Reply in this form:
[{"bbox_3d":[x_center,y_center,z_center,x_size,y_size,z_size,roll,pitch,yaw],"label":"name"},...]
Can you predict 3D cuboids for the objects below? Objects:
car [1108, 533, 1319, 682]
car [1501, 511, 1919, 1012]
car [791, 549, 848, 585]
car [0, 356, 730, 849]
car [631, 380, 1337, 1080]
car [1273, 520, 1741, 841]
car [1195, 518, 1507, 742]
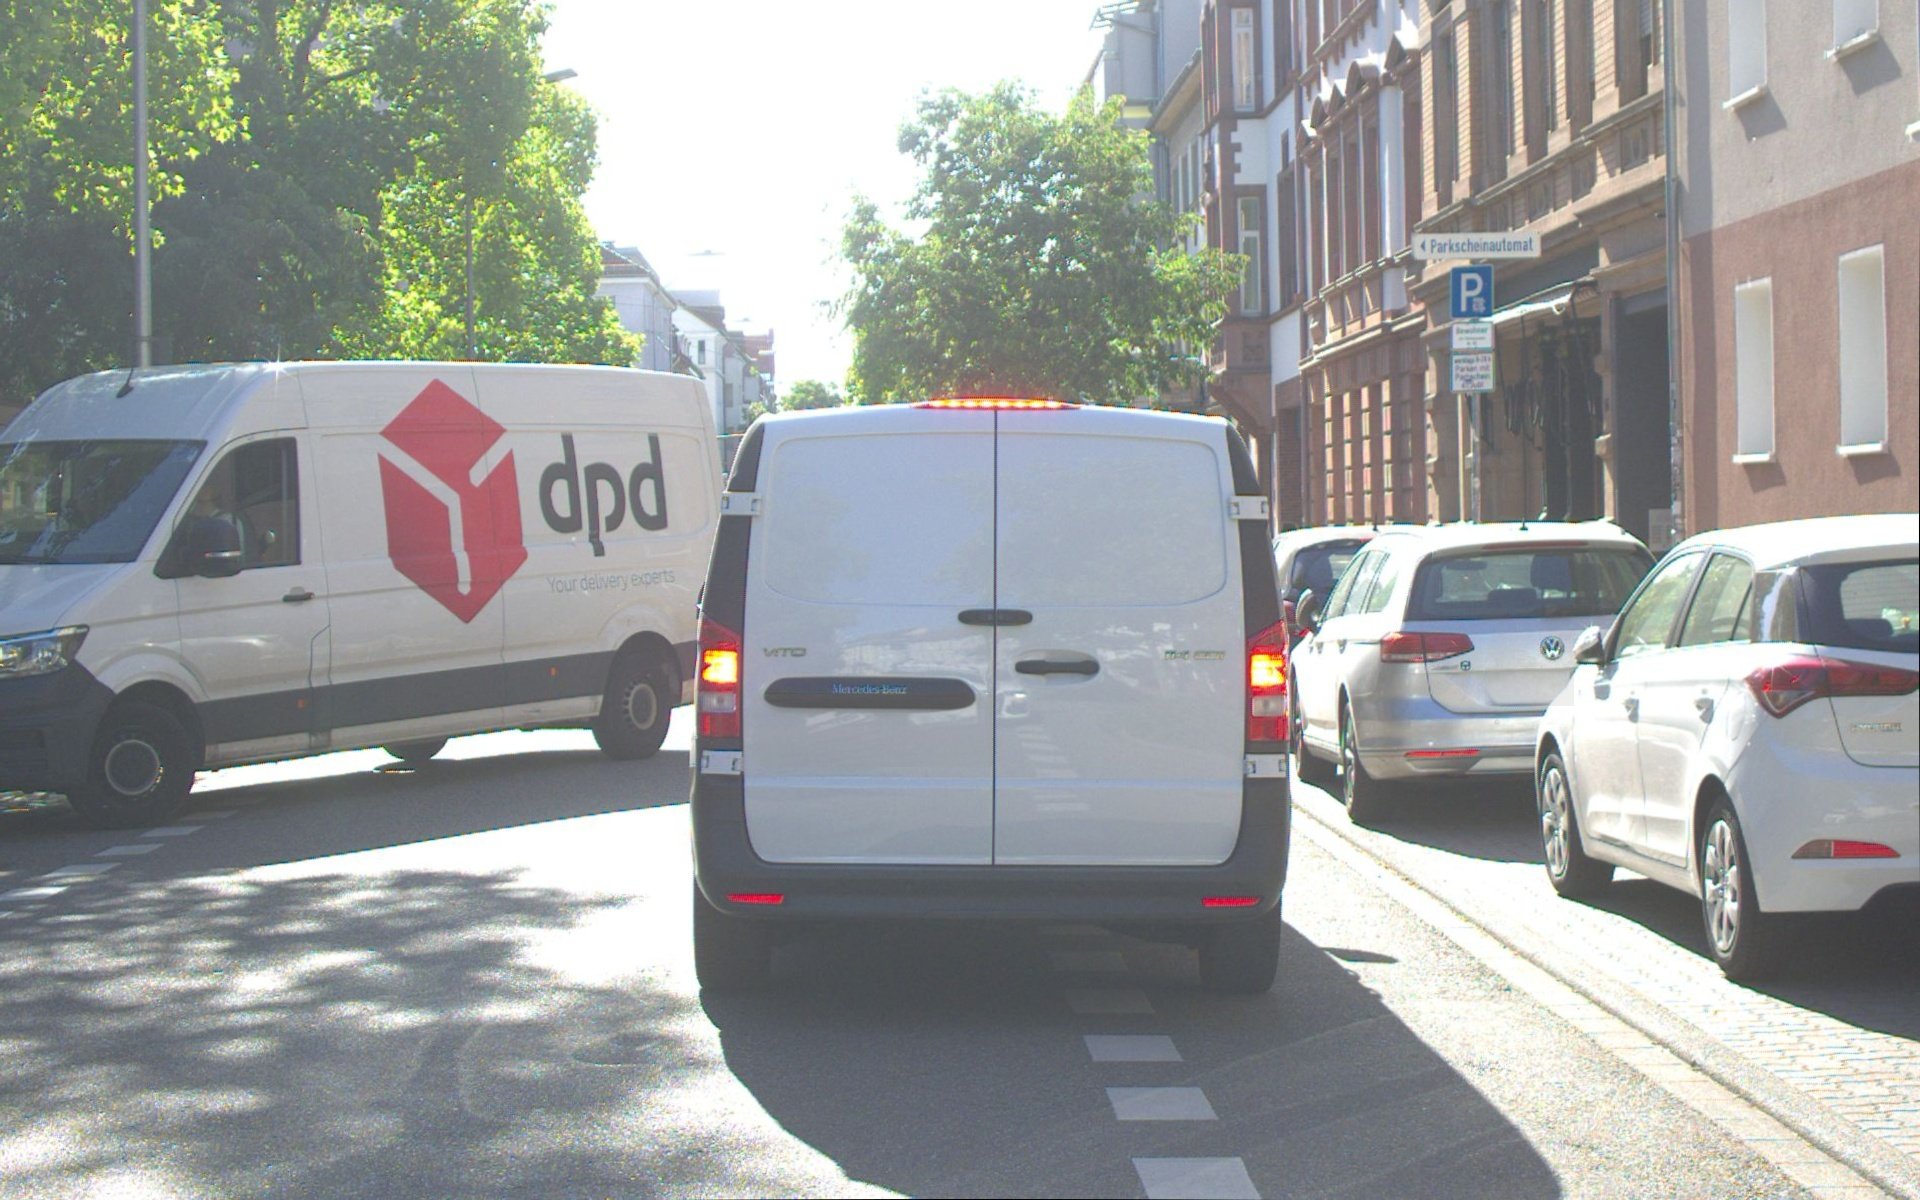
[{"bbox_3d":[2.592,0.034,35.966,1.738,1.446,4.001,-1,1,-2],"label":"car"},{"bbox_3d":[3.232,0.444,12.421,1.731,1.481,3.795,-3,1,-3],"label":"car"},{"bbox_3d":[-4.082,-0.973,100.008,1.610,0.963,4.001,-1,1,-2],"label":"car"},{"bbox_3d":[-4.009,-0.073,20.567,1.997,2.465,6.594,0,1,29],"label":"car"},{"bbox_3d":[0.019,0.303,11.847,1.920,1.907,4.888,0,1,-1],"label":"car"},{"bbox_3d":[2.785,0.337,18.459,1.785,1.455,4.517,-2,1,1],"label":"car"},{"bbox_3d":[2.744,0.169,24.842,1.709,1.475,3.711,-1,1,-2],"label":"car"}]
